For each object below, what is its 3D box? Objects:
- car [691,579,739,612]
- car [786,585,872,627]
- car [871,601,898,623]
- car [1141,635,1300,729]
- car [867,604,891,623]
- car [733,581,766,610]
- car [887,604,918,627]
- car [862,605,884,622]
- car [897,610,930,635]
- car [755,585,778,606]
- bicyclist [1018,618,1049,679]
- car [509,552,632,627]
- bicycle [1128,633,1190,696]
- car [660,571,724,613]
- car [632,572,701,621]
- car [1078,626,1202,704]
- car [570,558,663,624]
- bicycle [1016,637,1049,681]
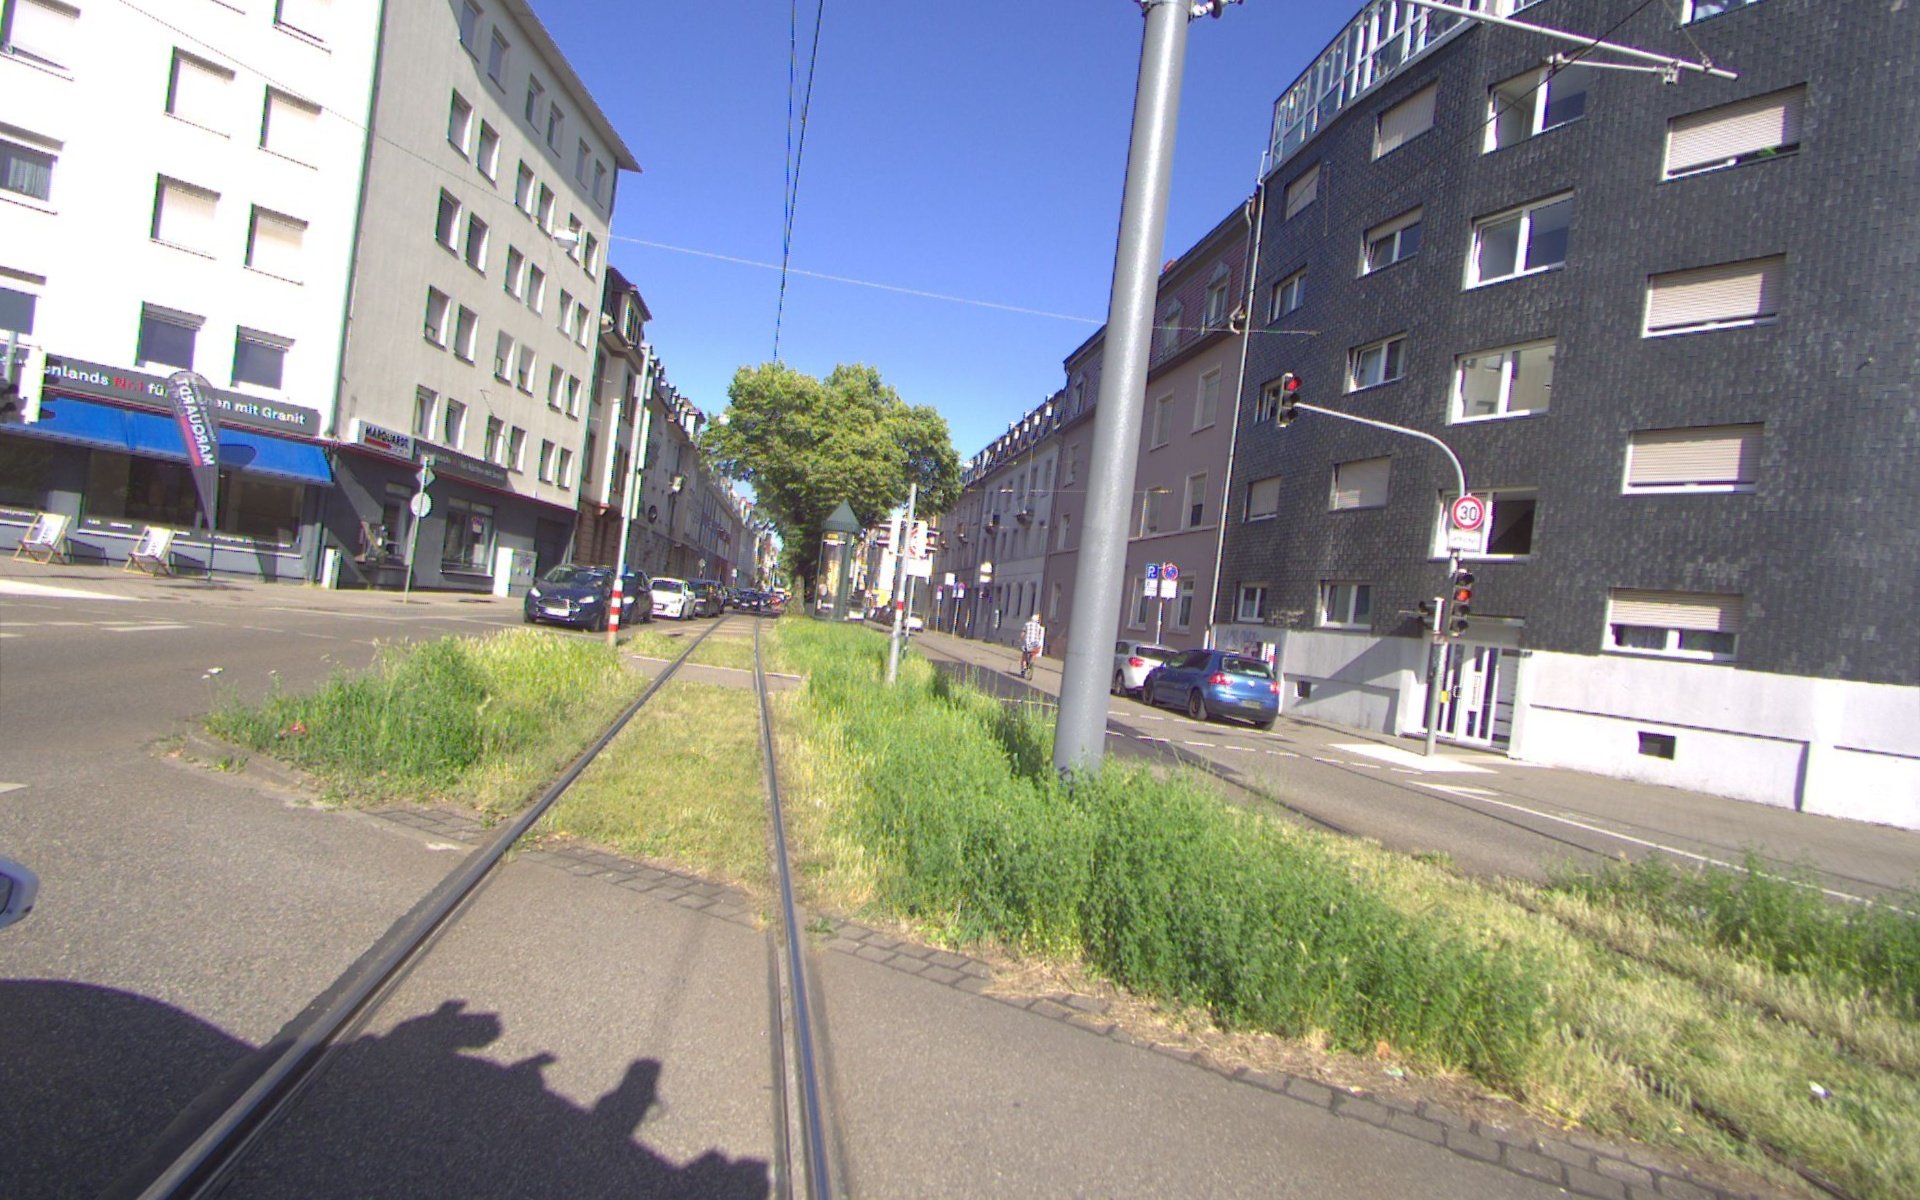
[{"bbox_3d":[-13.419,-0.250,55.335,1.965,1.505,3.996,7,-1,-7],"label":"car"},{"bbox_3d":[-6.746,0.325,51.754,3.935,1.613,1.906,7,0,34],"label":"car"},{"bbox_3d":[-6.651,1.034,88.354,1.909,1.486,3.992,8,0,-10],"label":"car"},{"bbox_3d":[5.449,1.692,21.550,1.752,1.460,3.611,8,0,-11],"label":"car"},{"bbox_3d":[-8.270,1.367,102.776,1.909,1.486,3.992,8,0,-10],"label":"car"},{"bbox_3d":[-14.982,-0.328,71.763,1.967,1.771,3.993,7,-1,-10],"label":"car"},{"bbox_3d":[-4.824,1.261,83.737,1.909,1.486,3.992,8,0,-10],"label":"car"},{"bbox_3d":[-9.428,1.441,108.759,1.909,1.486,3.992,8,0,-10],"label":"car"},{"bbox_3d":[-3.610,1.727,77.443,1.966,1.636,3.997,8,-2,-8],"label":"car"},{"bbox_3d":[-19.095,-0.430,99.321,1.967,1.771,3.993,7,-1,-10],"label":"car"},{"bbox_3d":[1.985,1.307,27.257,0.552,1.578,0.823,7,0,-3],"label":"bicyclist"},{"bbox_3d":[-9.044,-0.230,23.673,1.765,1.412,3.720,7,-1,-8],"label":"car"},{"bbox_3d":[5.551,1.768,28.337,0.565,1.529,2.802,7,-1,-10],"label":"bicycle"},{"bbox_3d":[-11.514,-0.329,43.495,1.965,1.490,3.996,7,-1,-7],"label":"car"},{"bbox_3d":[-10.657,-0.120,36.717,1.765,1.500,3.527,7,-1,-8],"label":"car"},{"bbox_3d":[4.615,1.642,26.412,1.795,1.526,3.992,7,0,-10],"label":"car"},{"bbox_3d":[-10.007,-0.249,29.599,1.765,1.584,3.761,7,-1,-8],"label":"car"},{"bbox_3d":[1.951,1.585,27.365,0.578,1.045,1.857,7,0,-2],"label":"bicycle"}]
